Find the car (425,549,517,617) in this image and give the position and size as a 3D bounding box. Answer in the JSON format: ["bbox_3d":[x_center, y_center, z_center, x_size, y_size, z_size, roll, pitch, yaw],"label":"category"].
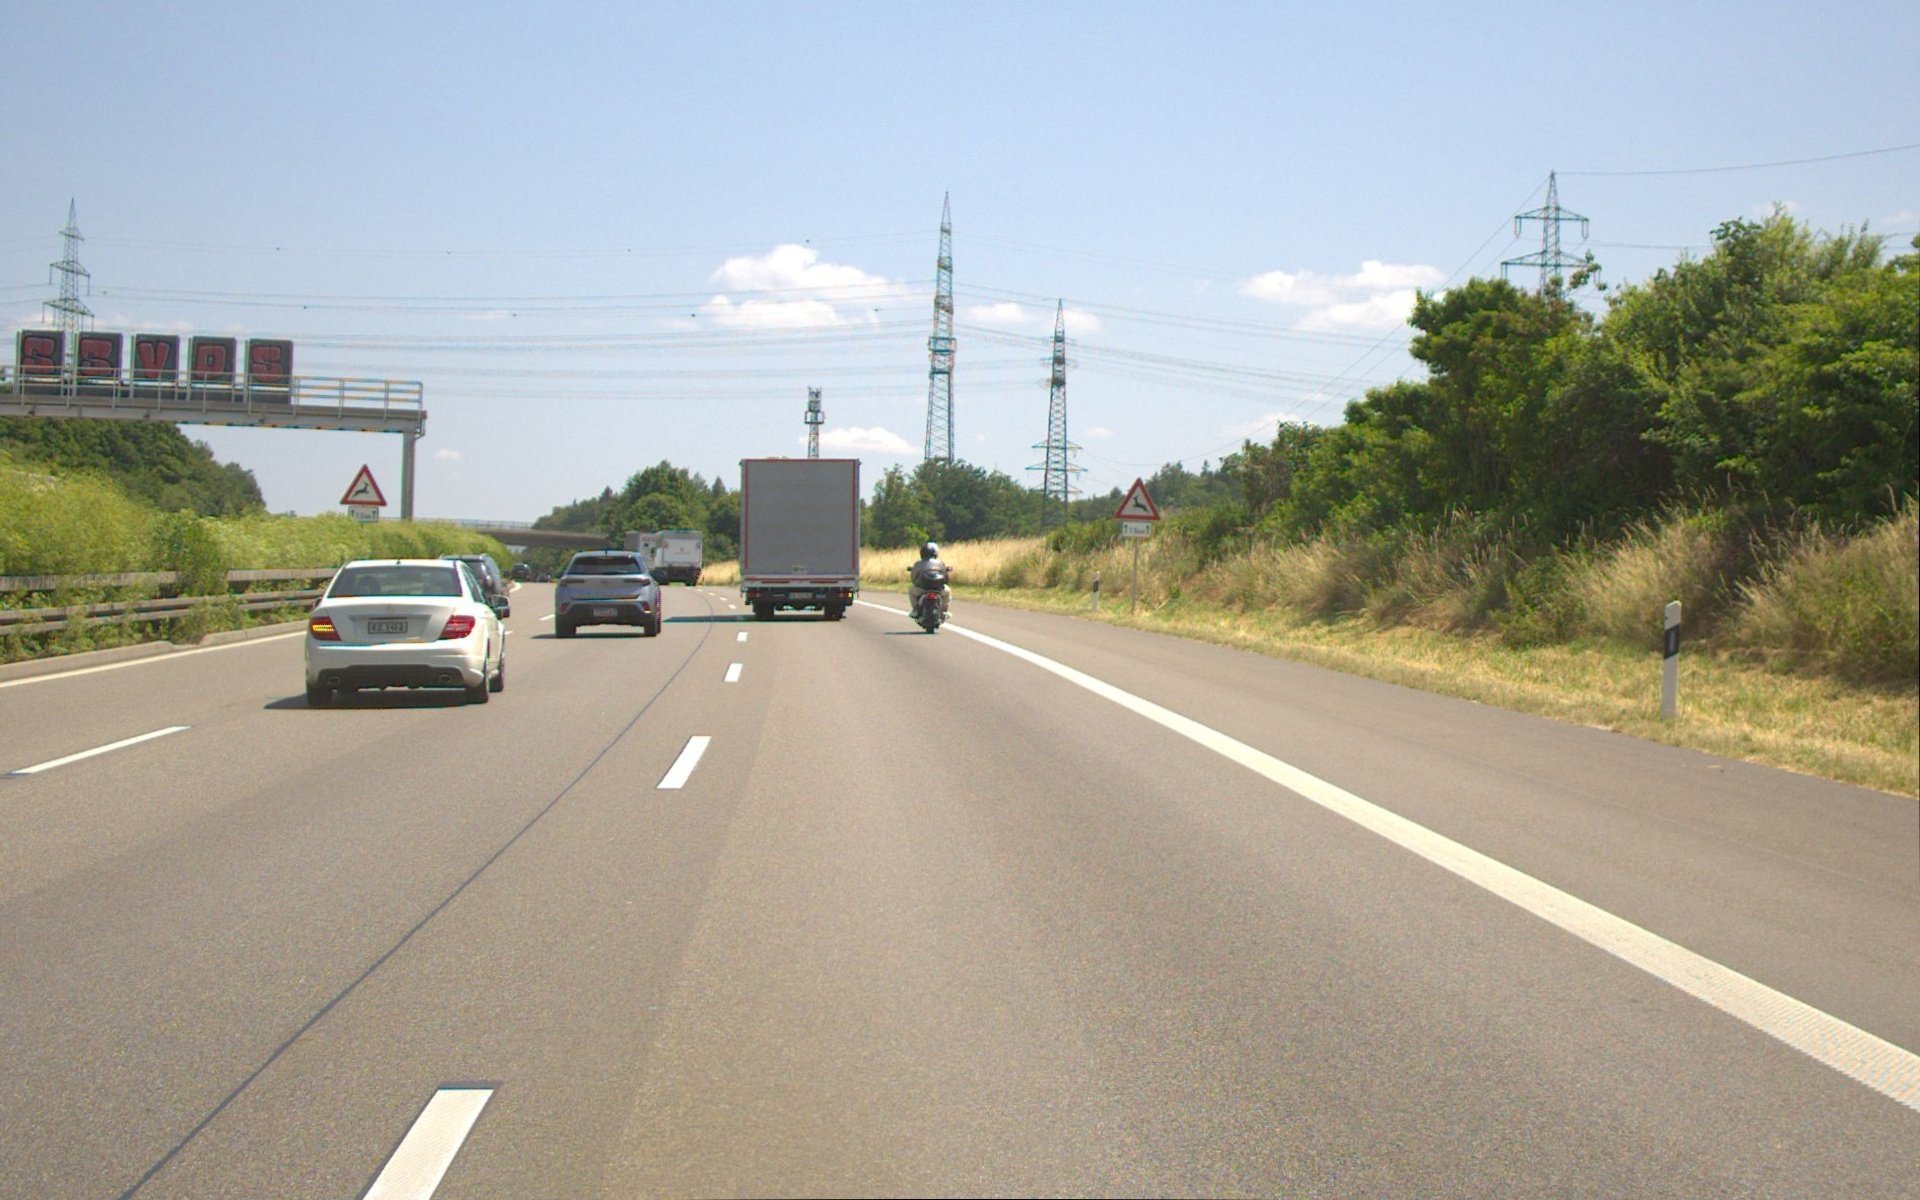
[{"bbox_3d":[-10.802,-0.397,76.192,1.756,1.424,4.001,-1,1,-5],"label":"car"}]

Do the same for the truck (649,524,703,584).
[{"bbox_3d":[-18.756,-3.038,226.497,3.483,3.899,7.291,0,1,-5],"label":"truck"}]

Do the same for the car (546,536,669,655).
[{"bbox_3d":[-6.226,-0.120,61.135,1.993,2.007,4.001,-1,1,-3],"label":"car"}]

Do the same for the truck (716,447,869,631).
[{"bbox_3d":[-3.898,-1.367,77.982,3.220,3.911,9.062,0,1,-4],"label":"truck"}]

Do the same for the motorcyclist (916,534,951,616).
[{"bbox_3d":[-0.488,-0.456,62.537,0.572,1.474,0.700,-1,1,-5],"label":"motorcyclist"}]

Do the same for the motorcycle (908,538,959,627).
[{"bbox_3d":[-0.487,-0.322,62.503,0.809,1.602,1.782,0,1,-4],"label":"motorcycle"}]

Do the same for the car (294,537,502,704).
[{"bbox_3d":[-5.559,0.160,34.402,1.819,1.535,3.915,-1,1,-6],"label":"car"}]
